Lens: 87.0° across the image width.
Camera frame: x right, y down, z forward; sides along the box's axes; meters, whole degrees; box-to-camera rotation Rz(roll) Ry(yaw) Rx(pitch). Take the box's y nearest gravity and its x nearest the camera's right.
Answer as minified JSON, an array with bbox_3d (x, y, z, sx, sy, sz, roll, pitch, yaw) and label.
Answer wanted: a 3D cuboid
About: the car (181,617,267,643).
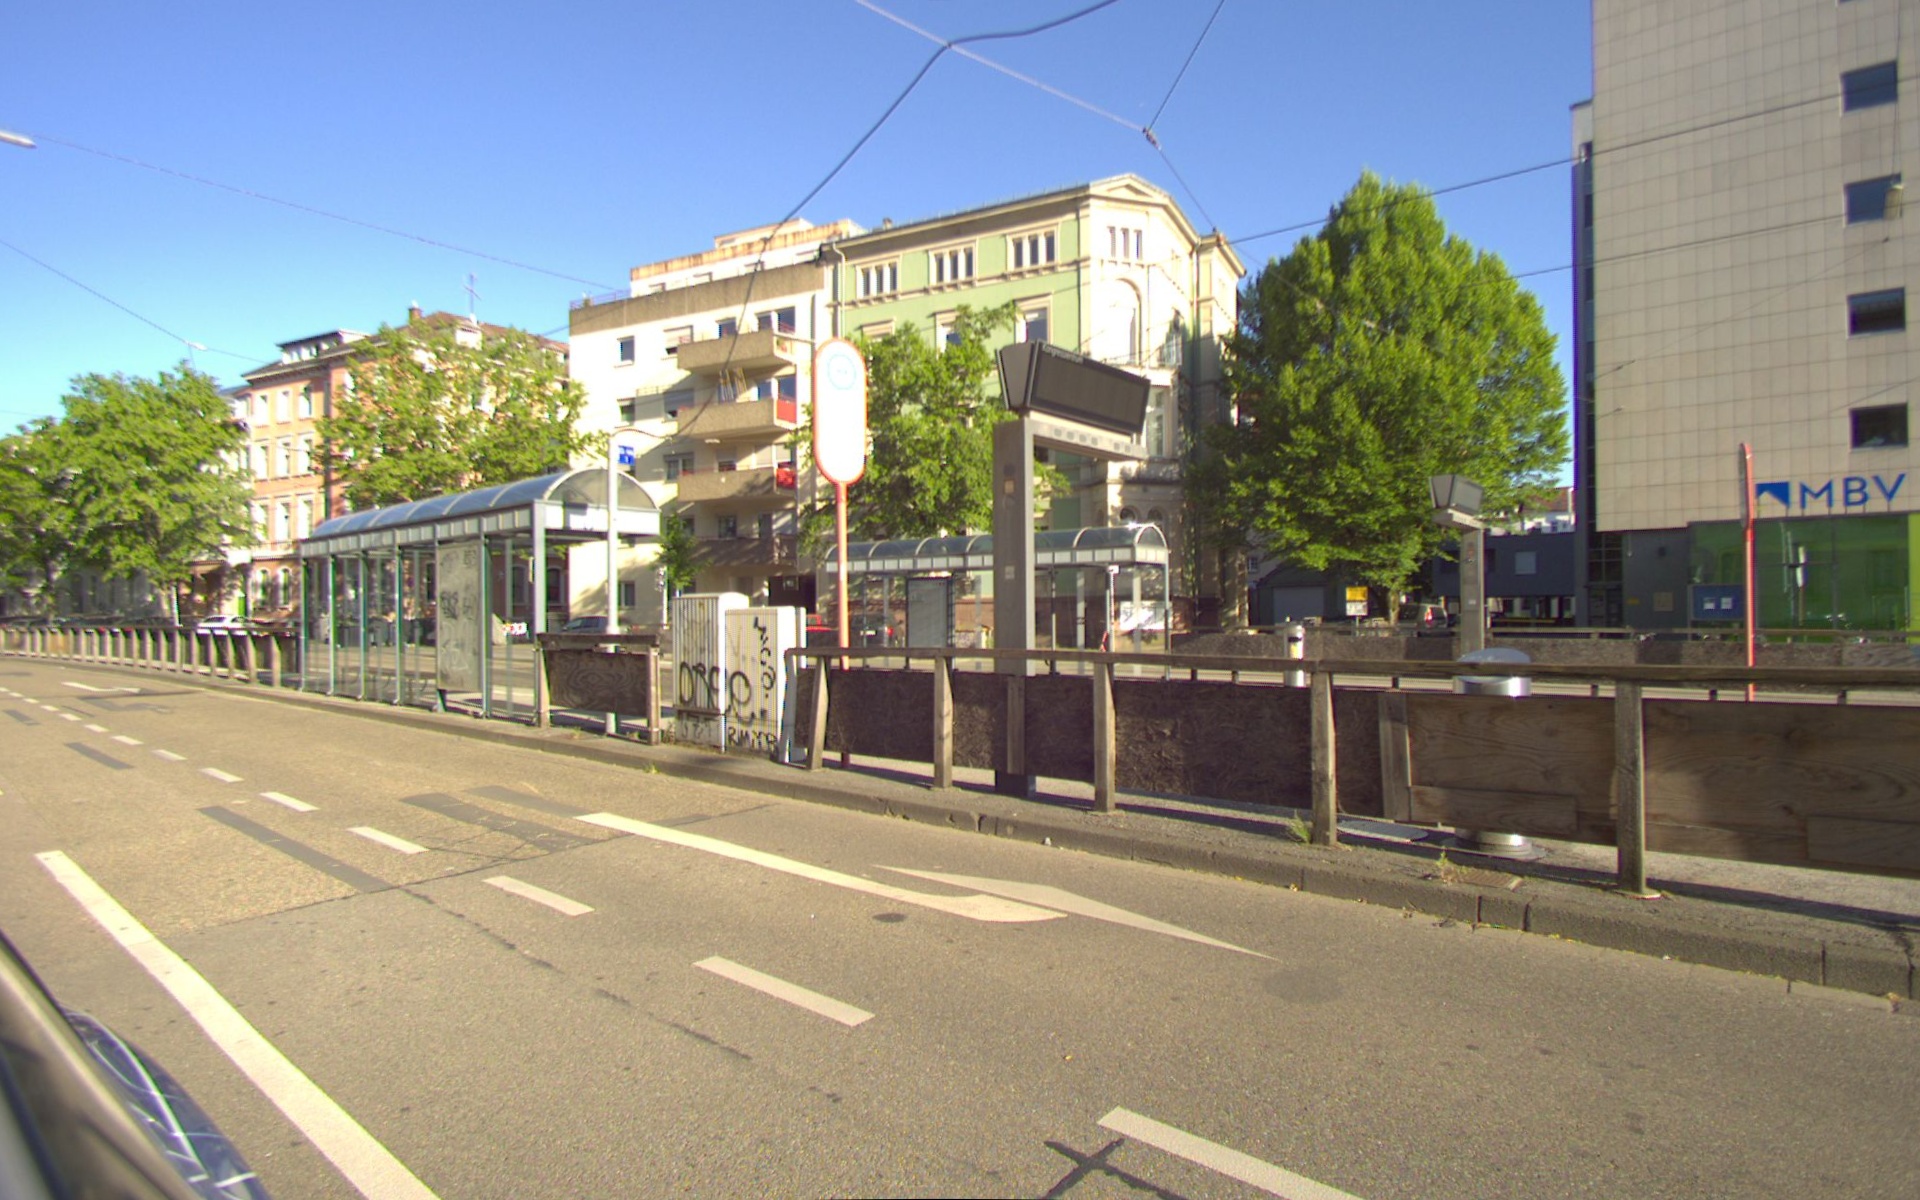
[{"bbox_3d":[-39.237,1.581,54.059,1.565,1.360,3.631,0,-1,11],"label":"car"}]

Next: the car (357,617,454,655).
[{"bbox_3d":[-23.805,1.515,43.416,3.987,1.541,1.978,-1,-2,32],"label":"car"}]

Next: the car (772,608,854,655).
[{"bbox_3d":[-6.626,1.408,46.020,1.791,2.029,3.963,-1,-1,27],"label":"car"}]

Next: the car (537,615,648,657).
[{"bbox_3d":[-14.083,1.381,38.727,3.987,1.542,1.978,-1,-3,32],"label":"car"}]
